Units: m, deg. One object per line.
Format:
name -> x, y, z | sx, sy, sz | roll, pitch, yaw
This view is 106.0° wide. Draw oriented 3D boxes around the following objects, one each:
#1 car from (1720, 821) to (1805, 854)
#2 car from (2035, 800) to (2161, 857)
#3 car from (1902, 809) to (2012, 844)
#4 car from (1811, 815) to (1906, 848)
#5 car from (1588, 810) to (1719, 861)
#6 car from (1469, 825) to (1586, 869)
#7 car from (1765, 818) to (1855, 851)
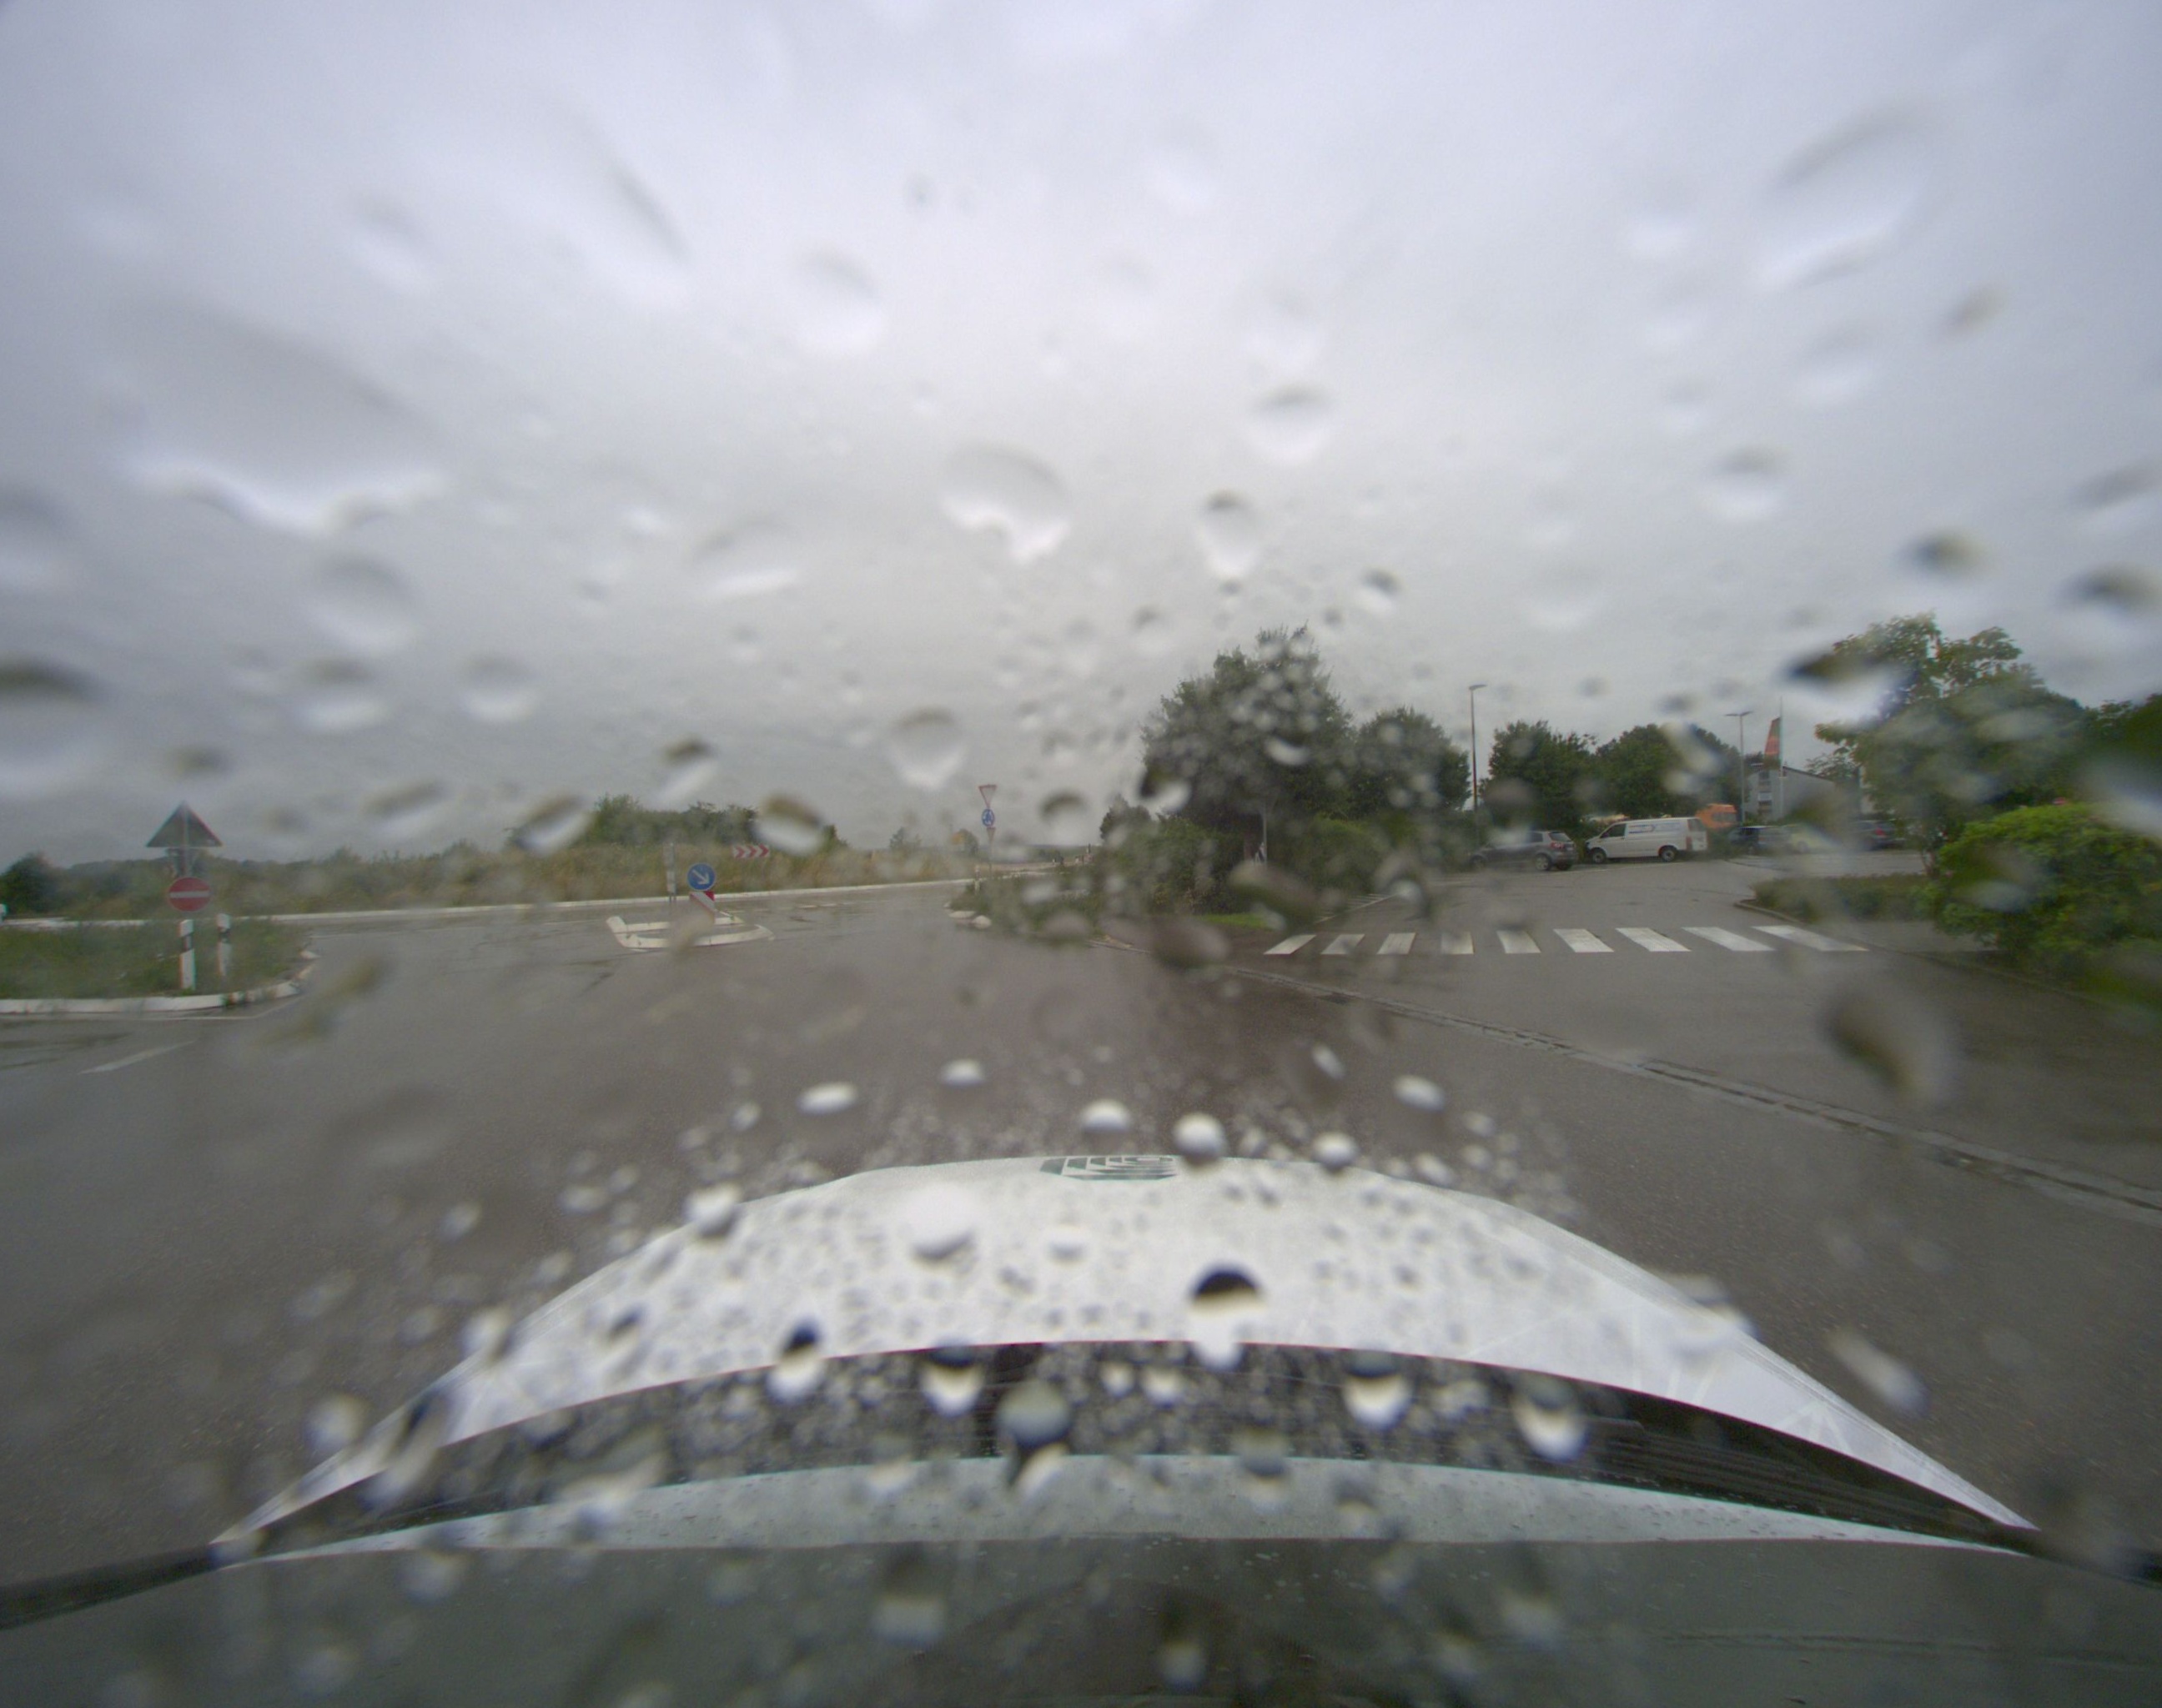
car -> 33.006, -0.790, 39.562 | 1.541, 1.458, 3.692 | -3, 0, 11
car -> 29.906, -0.755, 22.653 | 1.725, 1.497, 4.145 | -3, -1, -33
car -> 40.719, -1.230, 37.979 | 1.570, 1.458, 3.692 | -3, 0, 11
car -> 37.986, -1.059, 39.887 | 1.570, 1.458, 3.692 | -3, 0, 11
car -> 25.787, -0.786, 36.861 | 1.651, 2.033, 4.488 | -3, 0, -33
car -> 17.259, -0.243, 31.640 | 1.456, 1.551, 3.705 | -3, 0, -33
car -> 35.687, -0.933, 39.995 | 1.570, 1.458, 3.692 | -3, 0, 11
